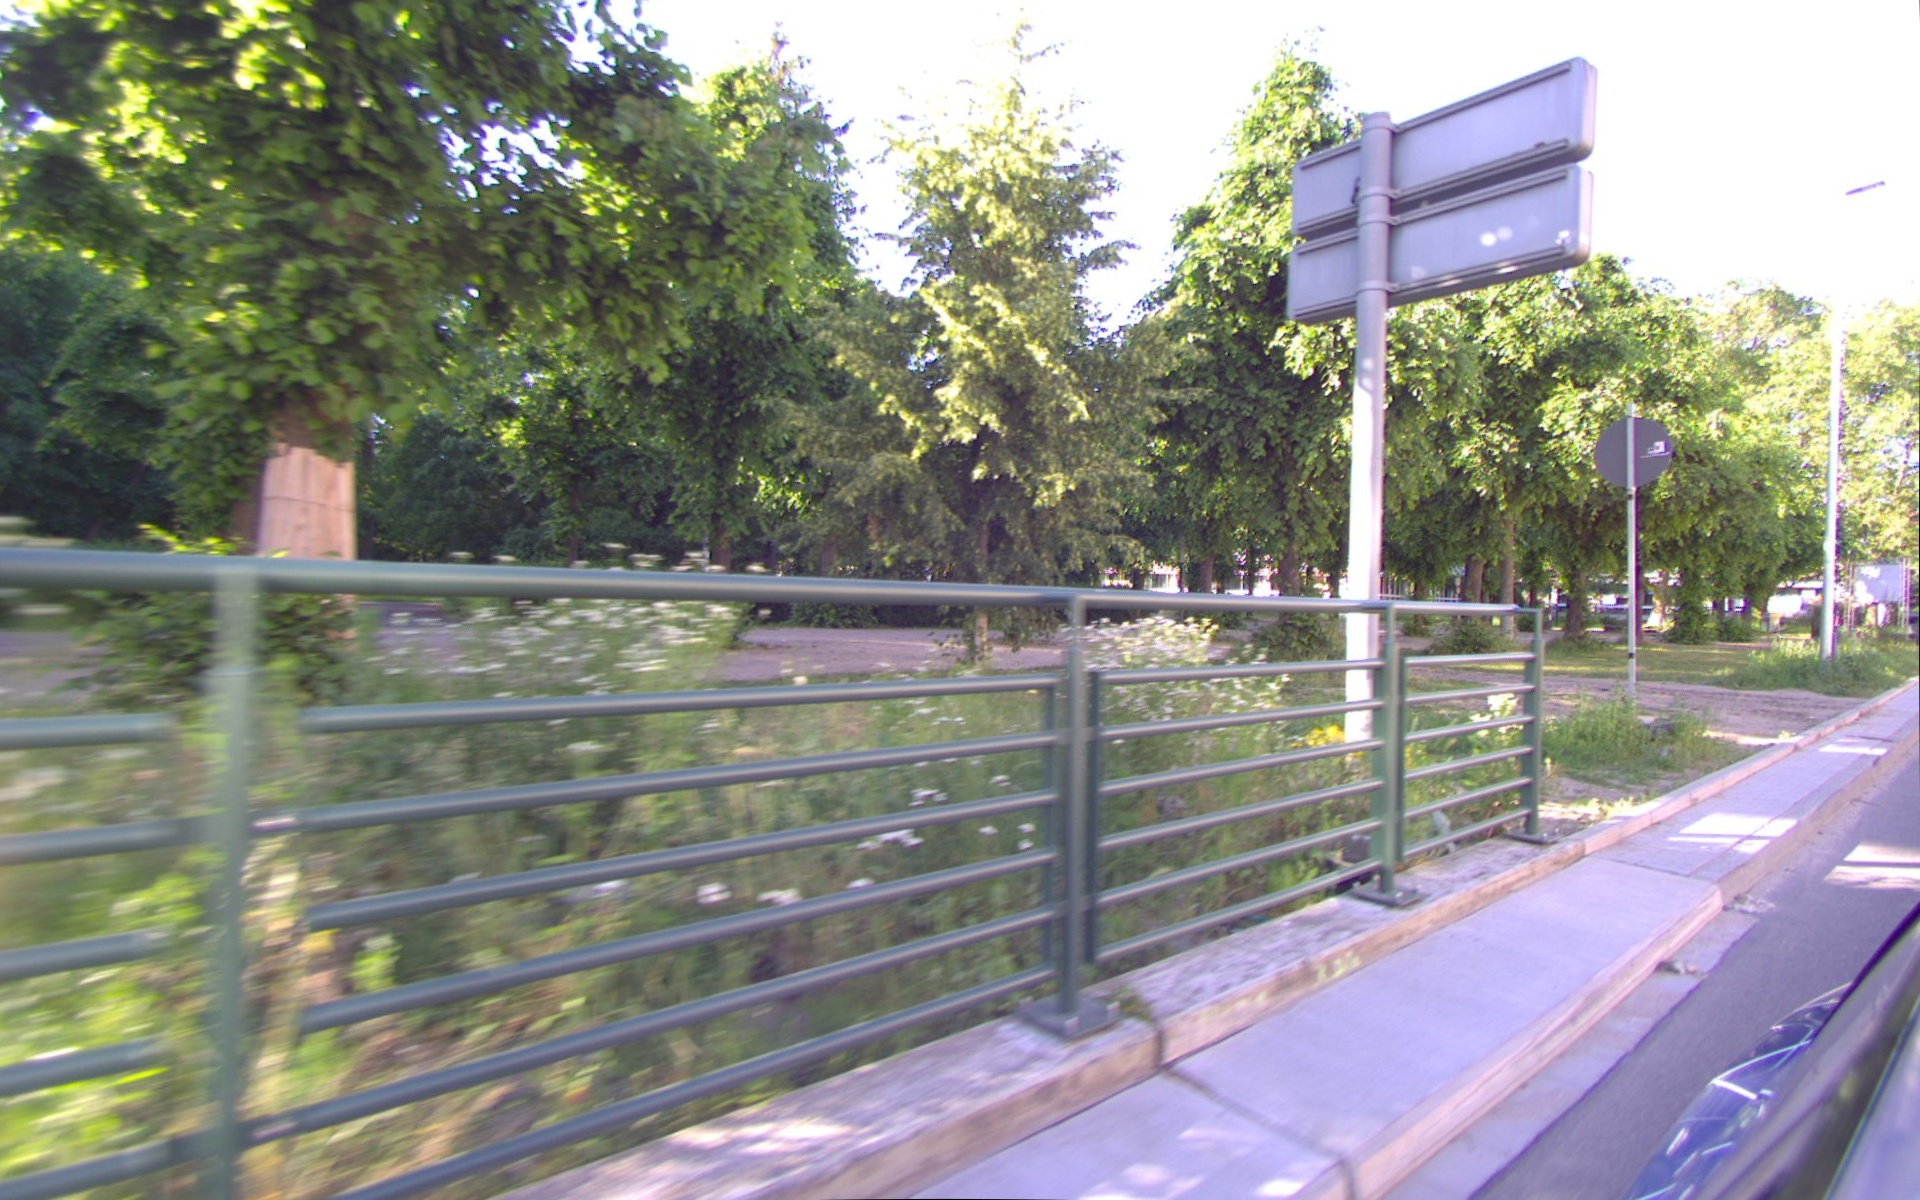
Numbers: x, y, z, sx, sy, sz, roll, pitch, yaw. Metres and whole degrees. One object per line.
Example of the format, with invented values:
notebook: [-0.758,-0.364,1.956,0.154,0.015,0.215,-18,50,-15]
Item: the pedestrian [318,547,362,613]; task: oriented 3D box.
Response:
pedestrian: [-17.365,-0.558,28.340,0.861,1.825,0.864,1,1,-43]
